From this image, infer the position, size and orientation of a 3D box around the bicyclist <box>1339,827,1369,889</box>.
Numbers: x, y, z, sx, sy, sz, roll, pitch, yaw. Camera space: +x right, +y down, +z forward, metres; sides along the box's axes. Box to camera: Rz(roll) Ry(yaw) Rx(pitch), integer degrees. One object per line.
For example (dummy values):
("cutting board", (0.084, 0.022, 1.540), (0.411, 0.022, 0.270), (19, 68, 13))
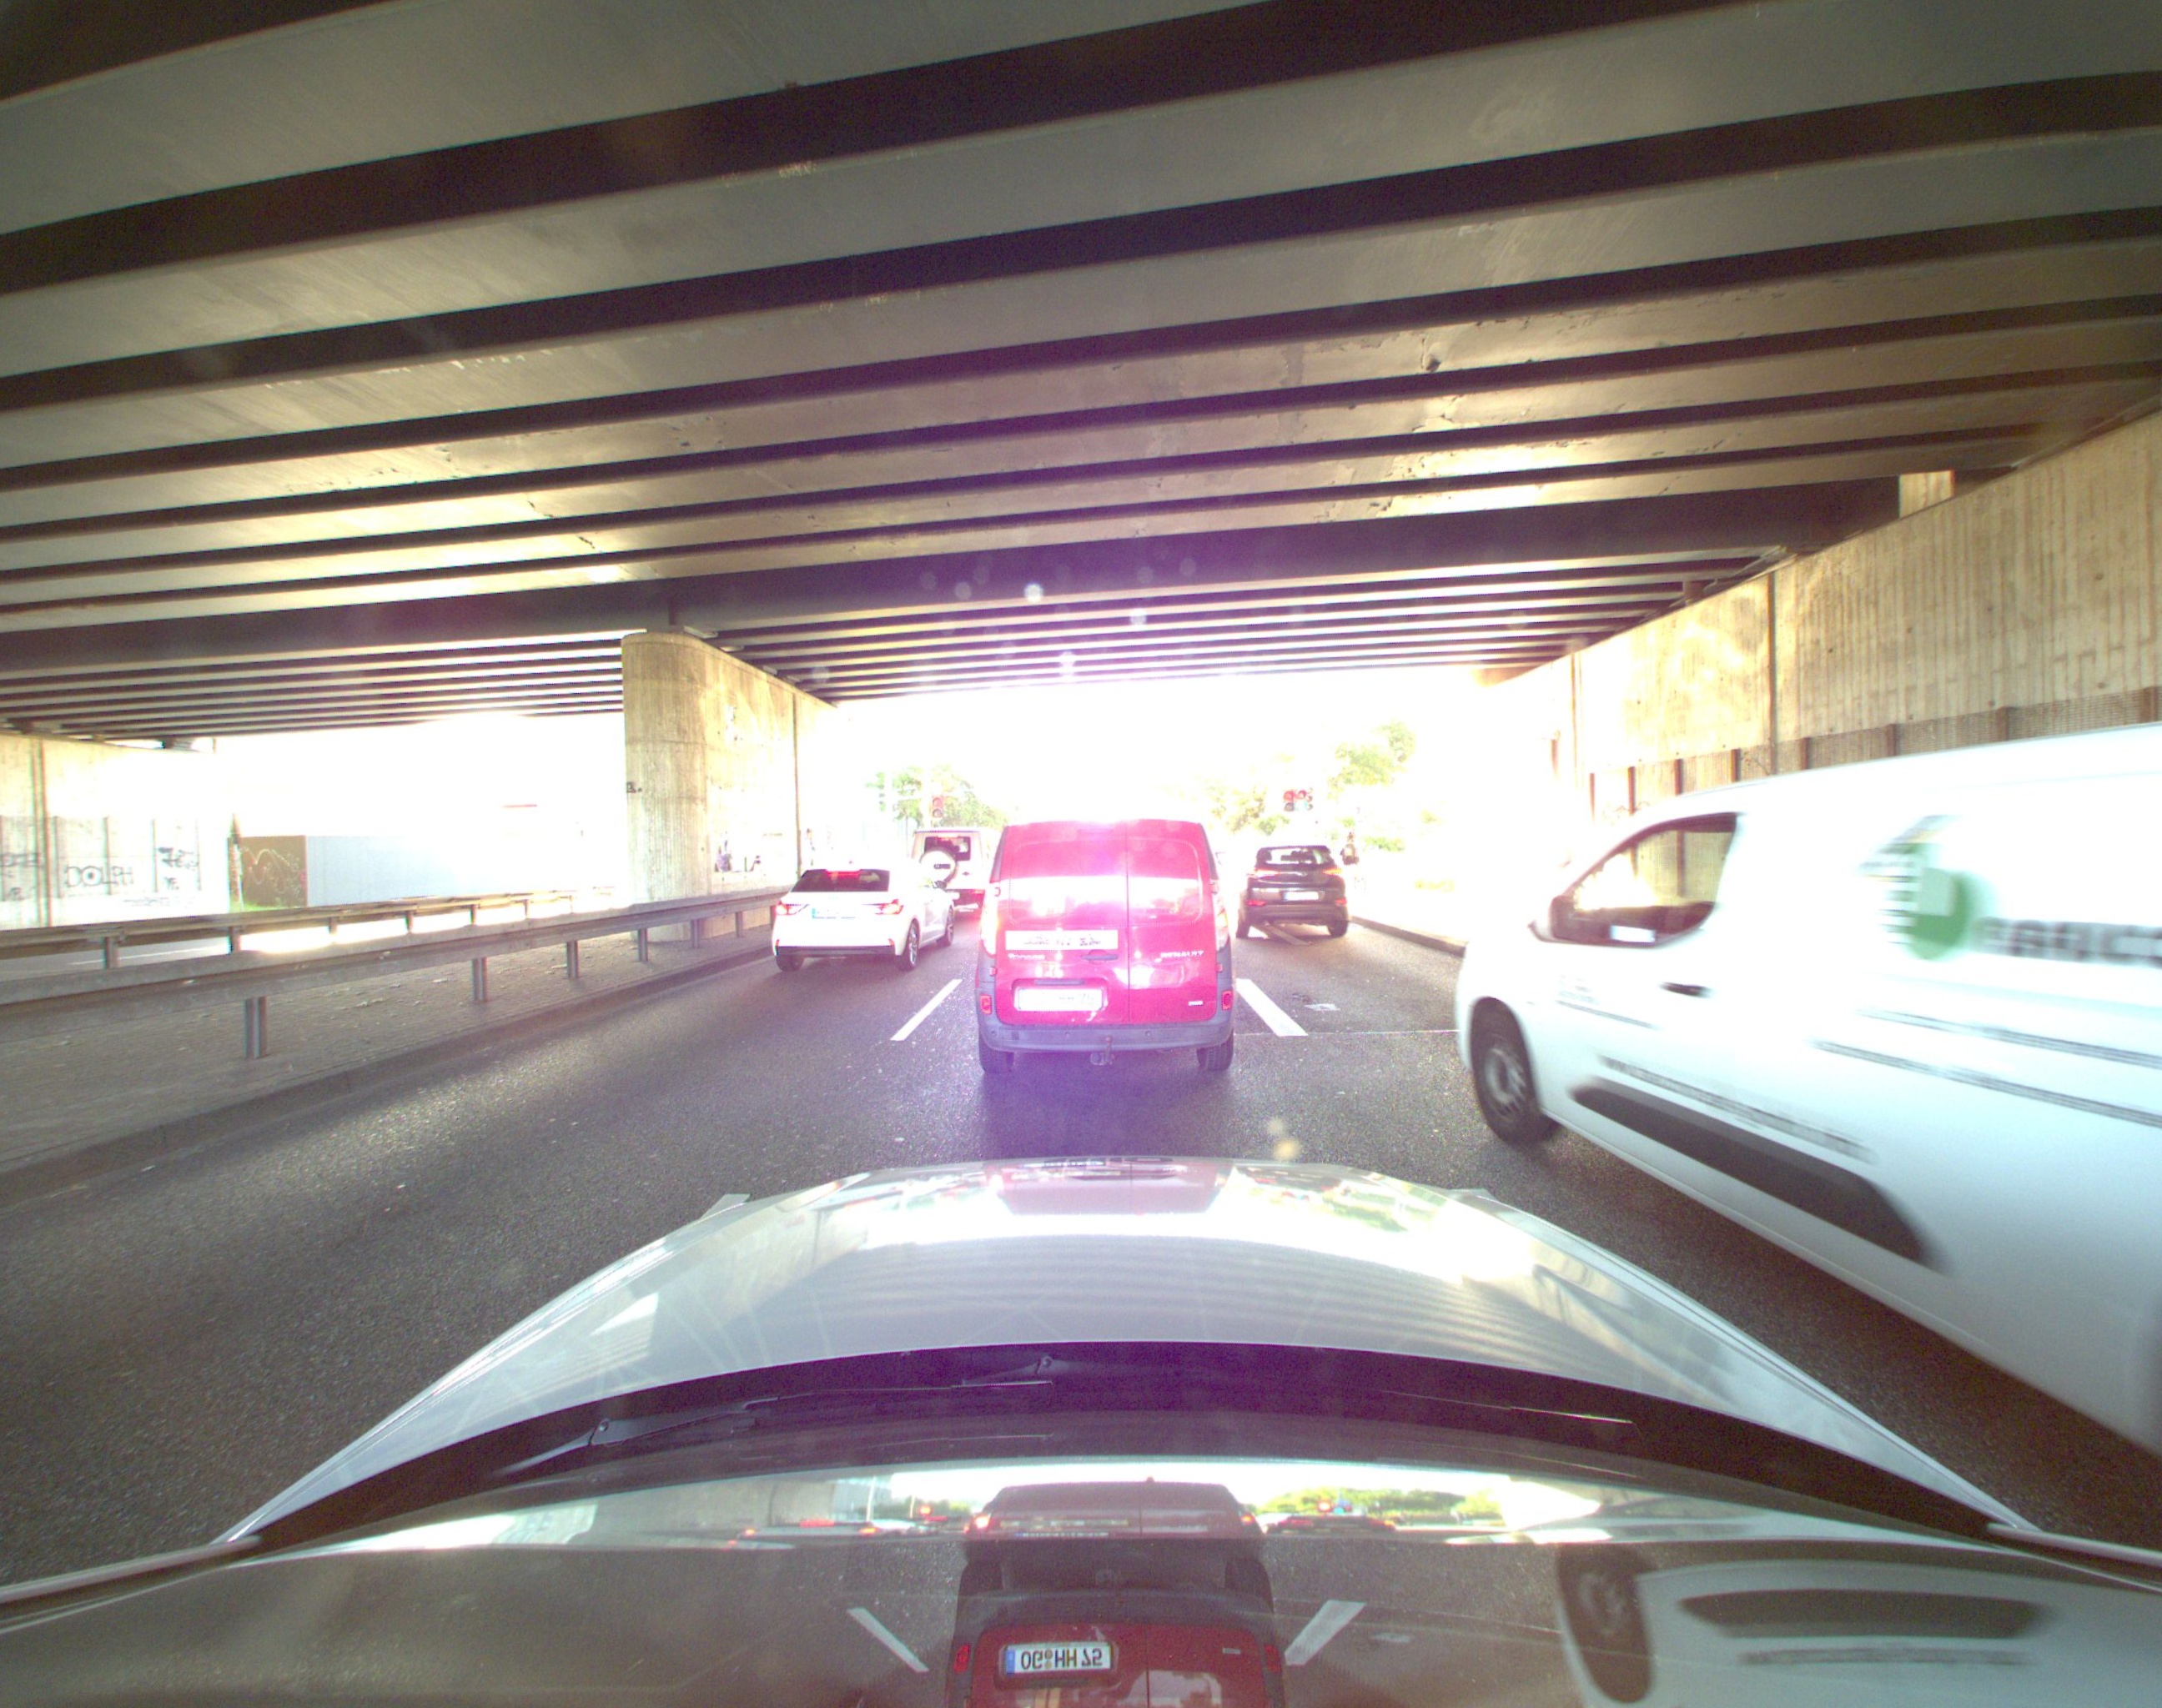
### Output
("bicyclist", (7.267, 0.113, 21.690), (0.673, 1.629, 0.646), (0, -1, 12))

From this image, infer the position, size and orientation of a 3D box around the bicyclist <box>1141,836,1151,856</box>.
("bicyclist", (5.106, -0.619, 63.967), (0.752, 1.542, 0.697), (-1, 0, 2))

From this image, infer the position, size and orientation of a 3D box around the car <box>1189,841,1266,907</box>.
("car", (3.758, 0.449, 21.433), (1.644, 1.552, 3.869), (0, 1, 5))

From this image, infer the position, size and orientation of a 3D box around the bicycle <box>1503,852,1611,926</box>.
("bicycle", (7.561, 0.518, 13.031), (0.699, 1.057, 1.761), (-3, 0, 2))

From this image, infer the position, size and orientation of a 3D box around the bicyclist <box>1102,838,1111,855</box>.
("bicyclist", (2.017, -0.607, 64.764), (0.651, 1.329, 0.602), (0, -1, -2))

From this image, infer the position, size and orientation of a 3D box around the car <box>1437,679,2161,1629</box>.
("car", (2.998, 0.555, 2.698), (1.807, 1.833, 4.301), (0, 1, 1))

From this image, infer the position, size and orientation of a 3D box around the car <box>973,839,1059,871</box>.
("car", (-3.365, 0.039, 42.397), (4.338, 1.607, 1.997), (0, 0, -4))

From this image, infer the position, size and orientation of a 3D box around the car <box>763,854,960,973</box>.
("car", (-2.922, 0.710, 11.687), (1.686, 1.410, 3.814), (0, 0, 1))

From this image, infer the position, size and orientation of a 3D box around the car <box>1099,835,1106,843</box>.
("car", (5.863, -4.058, 220.900), (1.986, 2.014, 4.001), (0, 0, 2))

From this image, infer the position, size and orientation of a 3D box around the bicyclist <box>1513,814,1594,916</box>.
("bicyclist", (7.540, 0.173, 13.049), (0.693, 1.524, 0.910), (-4, -1, 2))

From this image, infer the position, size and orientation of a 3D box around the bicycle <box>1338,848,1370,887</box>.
("bicycle", (7.272, 0.353, 21.739), (0.672, 1.024, 1.534), (0, 0, 12))

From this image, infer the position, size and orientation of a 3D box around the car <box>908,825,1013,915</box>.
("car", (-2.711, 0.333, 19.113), (1.807, 1.904, 3.814), (0, 0, 1))

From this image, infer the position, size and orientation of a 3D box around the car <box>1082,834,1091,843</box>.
("car", (1.383, -3.744, 191.936), (1.986, 2.014, 4.001), (0, 0, 2))

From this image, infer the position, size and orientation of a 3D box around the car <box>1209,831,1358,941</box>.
("car", (3.487, 0.495, 14.750), (1.771, 1.655, 3.992), (-2, 0, 2))

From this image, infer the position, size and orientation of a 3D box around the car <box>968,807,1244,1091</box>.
("car", (0.219, 0.589, 7.093), (1.712, 1.764, 4.002), (0, 0, 2))

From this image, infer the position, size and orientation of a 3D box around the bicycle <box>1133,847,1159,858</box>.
("bicycle", (5.107, -0.115, 63.962), (1.945, 0.874, 0.700), (-1, 0, 2))
